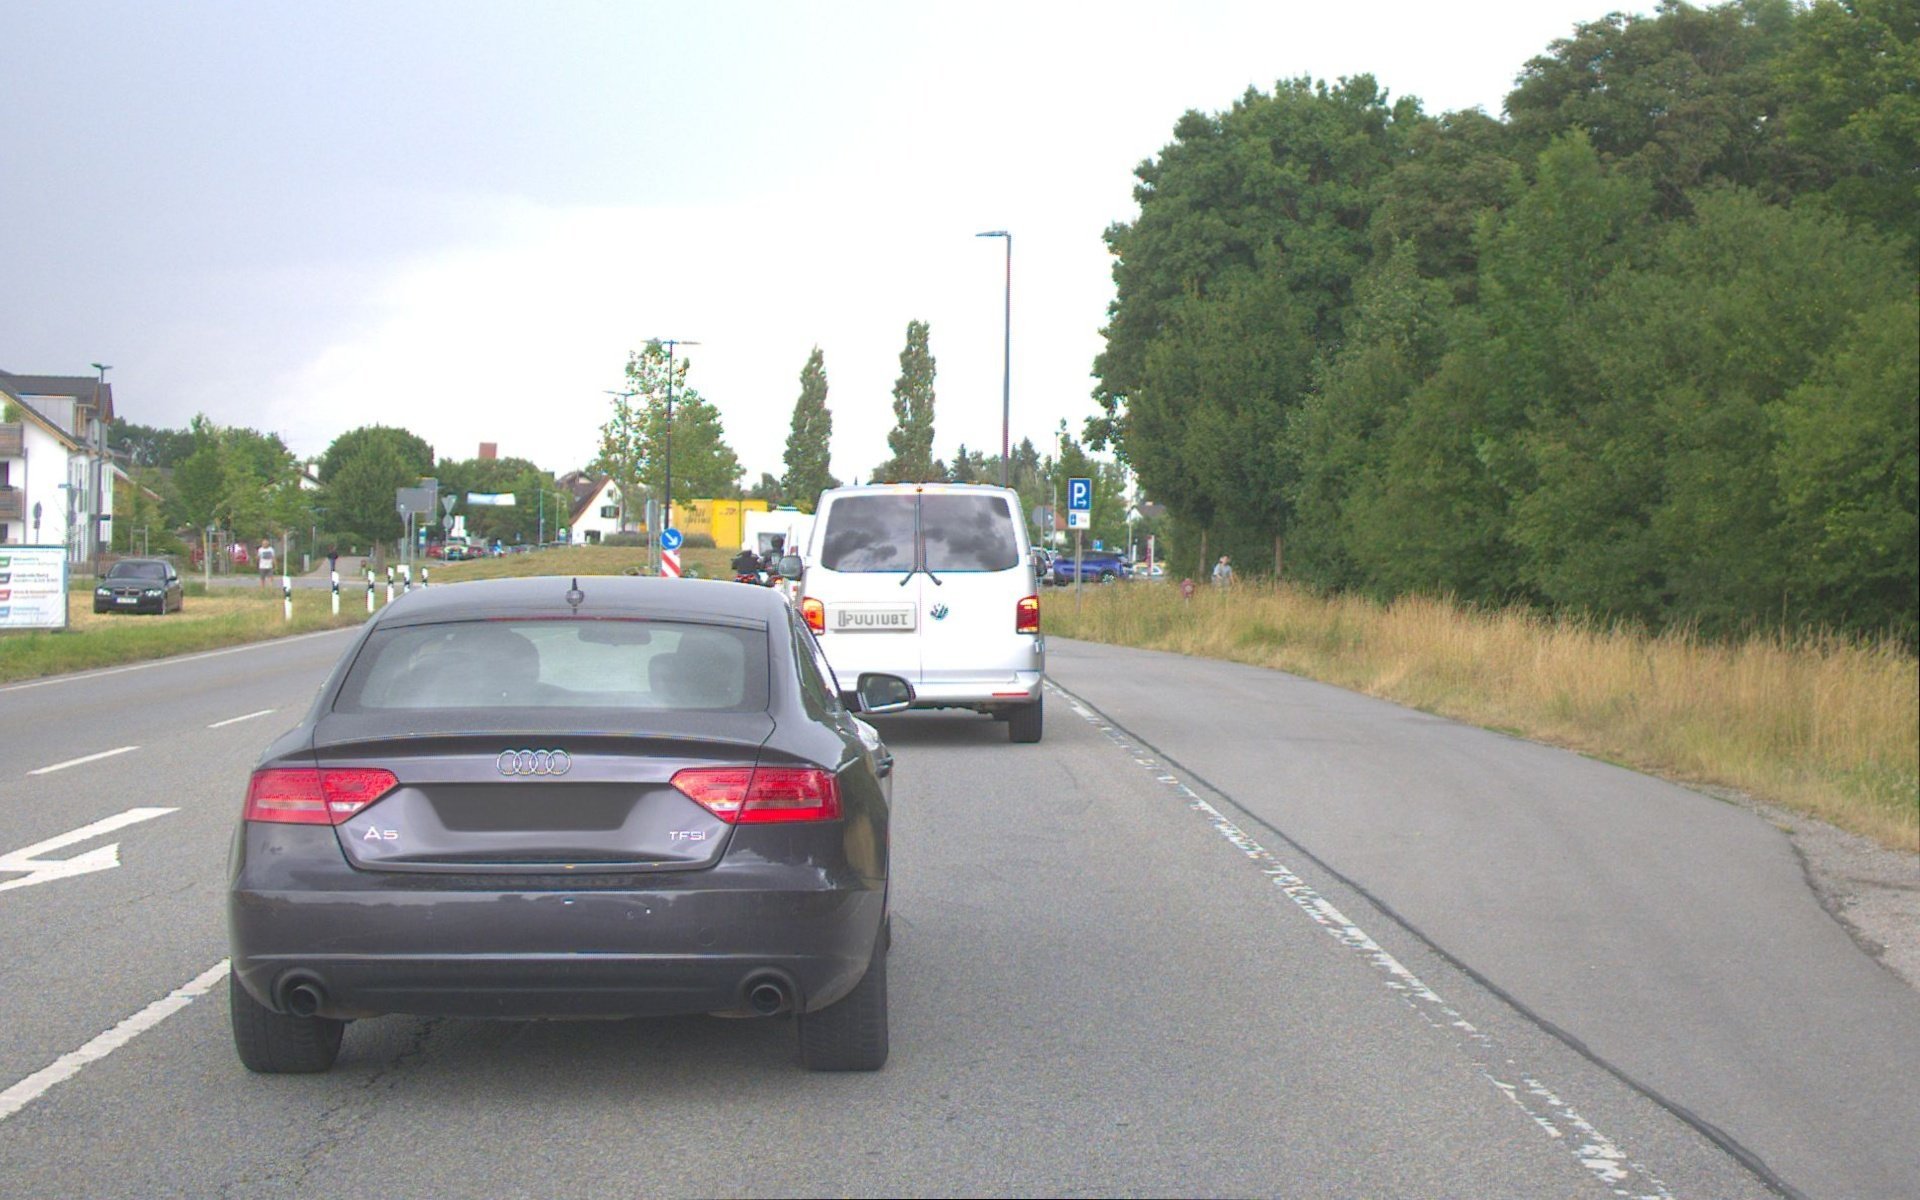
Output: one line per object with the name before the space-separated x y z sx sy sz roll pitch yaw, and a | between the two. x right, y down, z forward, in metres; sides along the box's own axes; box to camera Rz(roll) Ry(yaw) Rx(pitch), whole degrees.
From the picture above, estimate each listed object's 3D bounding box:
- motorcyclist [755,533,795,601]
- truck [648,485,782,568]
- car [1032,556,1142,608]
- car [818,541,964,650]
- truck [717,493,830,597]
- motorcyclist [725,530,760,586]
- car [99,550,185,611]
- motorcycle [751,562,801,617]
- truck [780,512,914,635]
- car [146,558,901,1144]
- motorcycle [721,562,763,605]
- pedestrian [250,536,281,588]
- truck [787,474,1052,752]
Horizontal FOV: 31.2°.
motorcyclist | -3.796 -0.680 70.704 0.772 1.379 0.820 1 1 -1
truck | -11.270 -3.386 157.060 3.575 3.566 9.960 1 1 -19
car | 5.139 -0.738 138.767 3.991 2.007 1.998 2 1 19
car | -0.997 -0.088 49.387 1.993 1.480 4.000 1 1 -1
truck | -5.213 -1.515 95.336 2.625 2.728 5.868 1 1 -8
motorcyclist | -5.338 -1.036 84.324 0.785 1.352 0.854 1 1 -7
car | -20.863 -0.519 87.776 1.993 1.437 4.001 1 2 -12
motorcycle | -3.782 -0.233 70.673 0.920 1.090 2.189 1 1 -1
truck | -1.912 -0.472 59.655 2.193 2.007 5.085 1 1 -1
car | -1.136 0.602 10.663 1.875 1.449 4.177 0 1 -1
motorcycle | -5.354 -0.418 84.367 0.944 1.016 2.284 1 1 -6
pedestrian | -21.389 -1.172 105.882 0.701 1.580 0.657 1 1 16
truck | -0.320 0.055 27.305 1.904 1.991 4.629 1 1 -1
